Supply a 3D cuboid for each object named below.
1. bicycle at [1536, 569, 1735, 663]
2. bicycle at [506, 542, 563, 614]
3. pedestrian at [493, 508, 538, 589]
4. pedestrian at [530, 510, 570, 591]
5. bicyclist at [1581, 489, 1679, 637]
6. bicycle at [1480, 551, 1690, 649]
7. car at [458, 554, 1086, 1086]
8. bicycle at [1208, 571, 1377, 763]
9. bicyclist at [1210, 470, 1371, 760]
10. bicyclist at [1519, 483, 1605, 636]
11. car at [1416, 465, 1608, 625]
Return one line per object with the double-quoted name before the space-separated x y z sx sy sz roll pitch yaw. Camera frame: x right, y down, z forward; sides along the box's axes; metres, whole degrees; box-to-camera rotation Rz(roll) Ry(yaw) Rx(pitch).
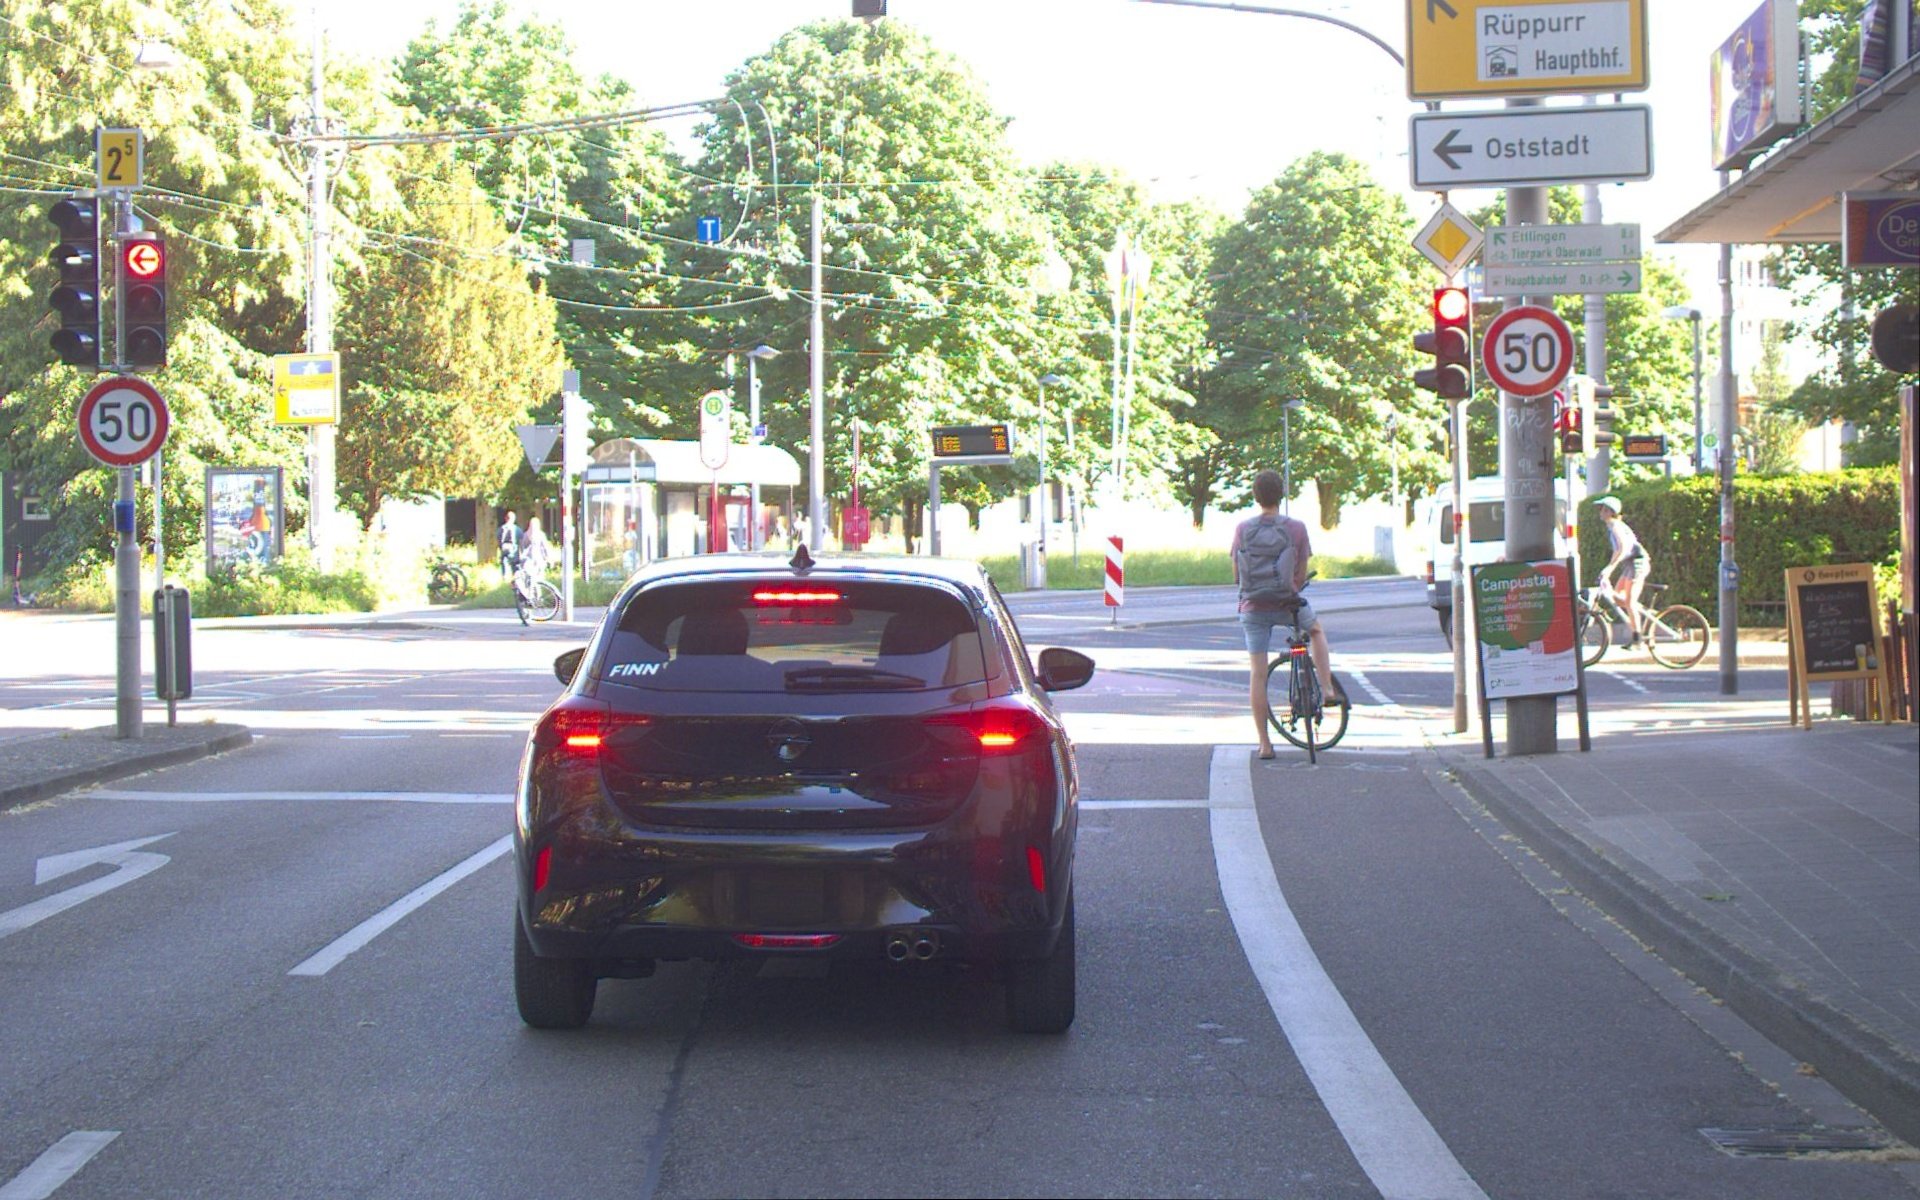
"bicycle" 7.188 0.163 36.631 2.059 0.980 0.672 0 1 11
"bicycle" -6.298 -0.337 50.997 0.605 1.028 1.982 0 1 0
"pedestrian" -9.068 -1.042 70.169 0.751 1.624 0.597 2 1 7
"pedestrian" -8.357 -1.002 70.087 0.636 1.624 0.572 2 1 7
"bicyclist" 7.145 -0.399 36.644 1.010 1.565 0.799 0 1 11
"bicycle" 7.027 -0.008 38.648 2.294 1.080 0.800 0 1 13
"car" -0.526 0.582 11.636 1.727 1.424 4.187 1 1 0
"bicycle" 2.151 0.406 22.486 0.860 1.149 2.172 -1 1 -1
"bicyclist" 2.147 0.088 22.412 0.941 1.845 0.864 -1 1 -1
"bicyclist" 6.779 -0.460 38.684 0.927 1.701 0.875 0 1 12
"car" 8.229 -0.837 50.890 2.065 2.241 4.883 0 1 18
